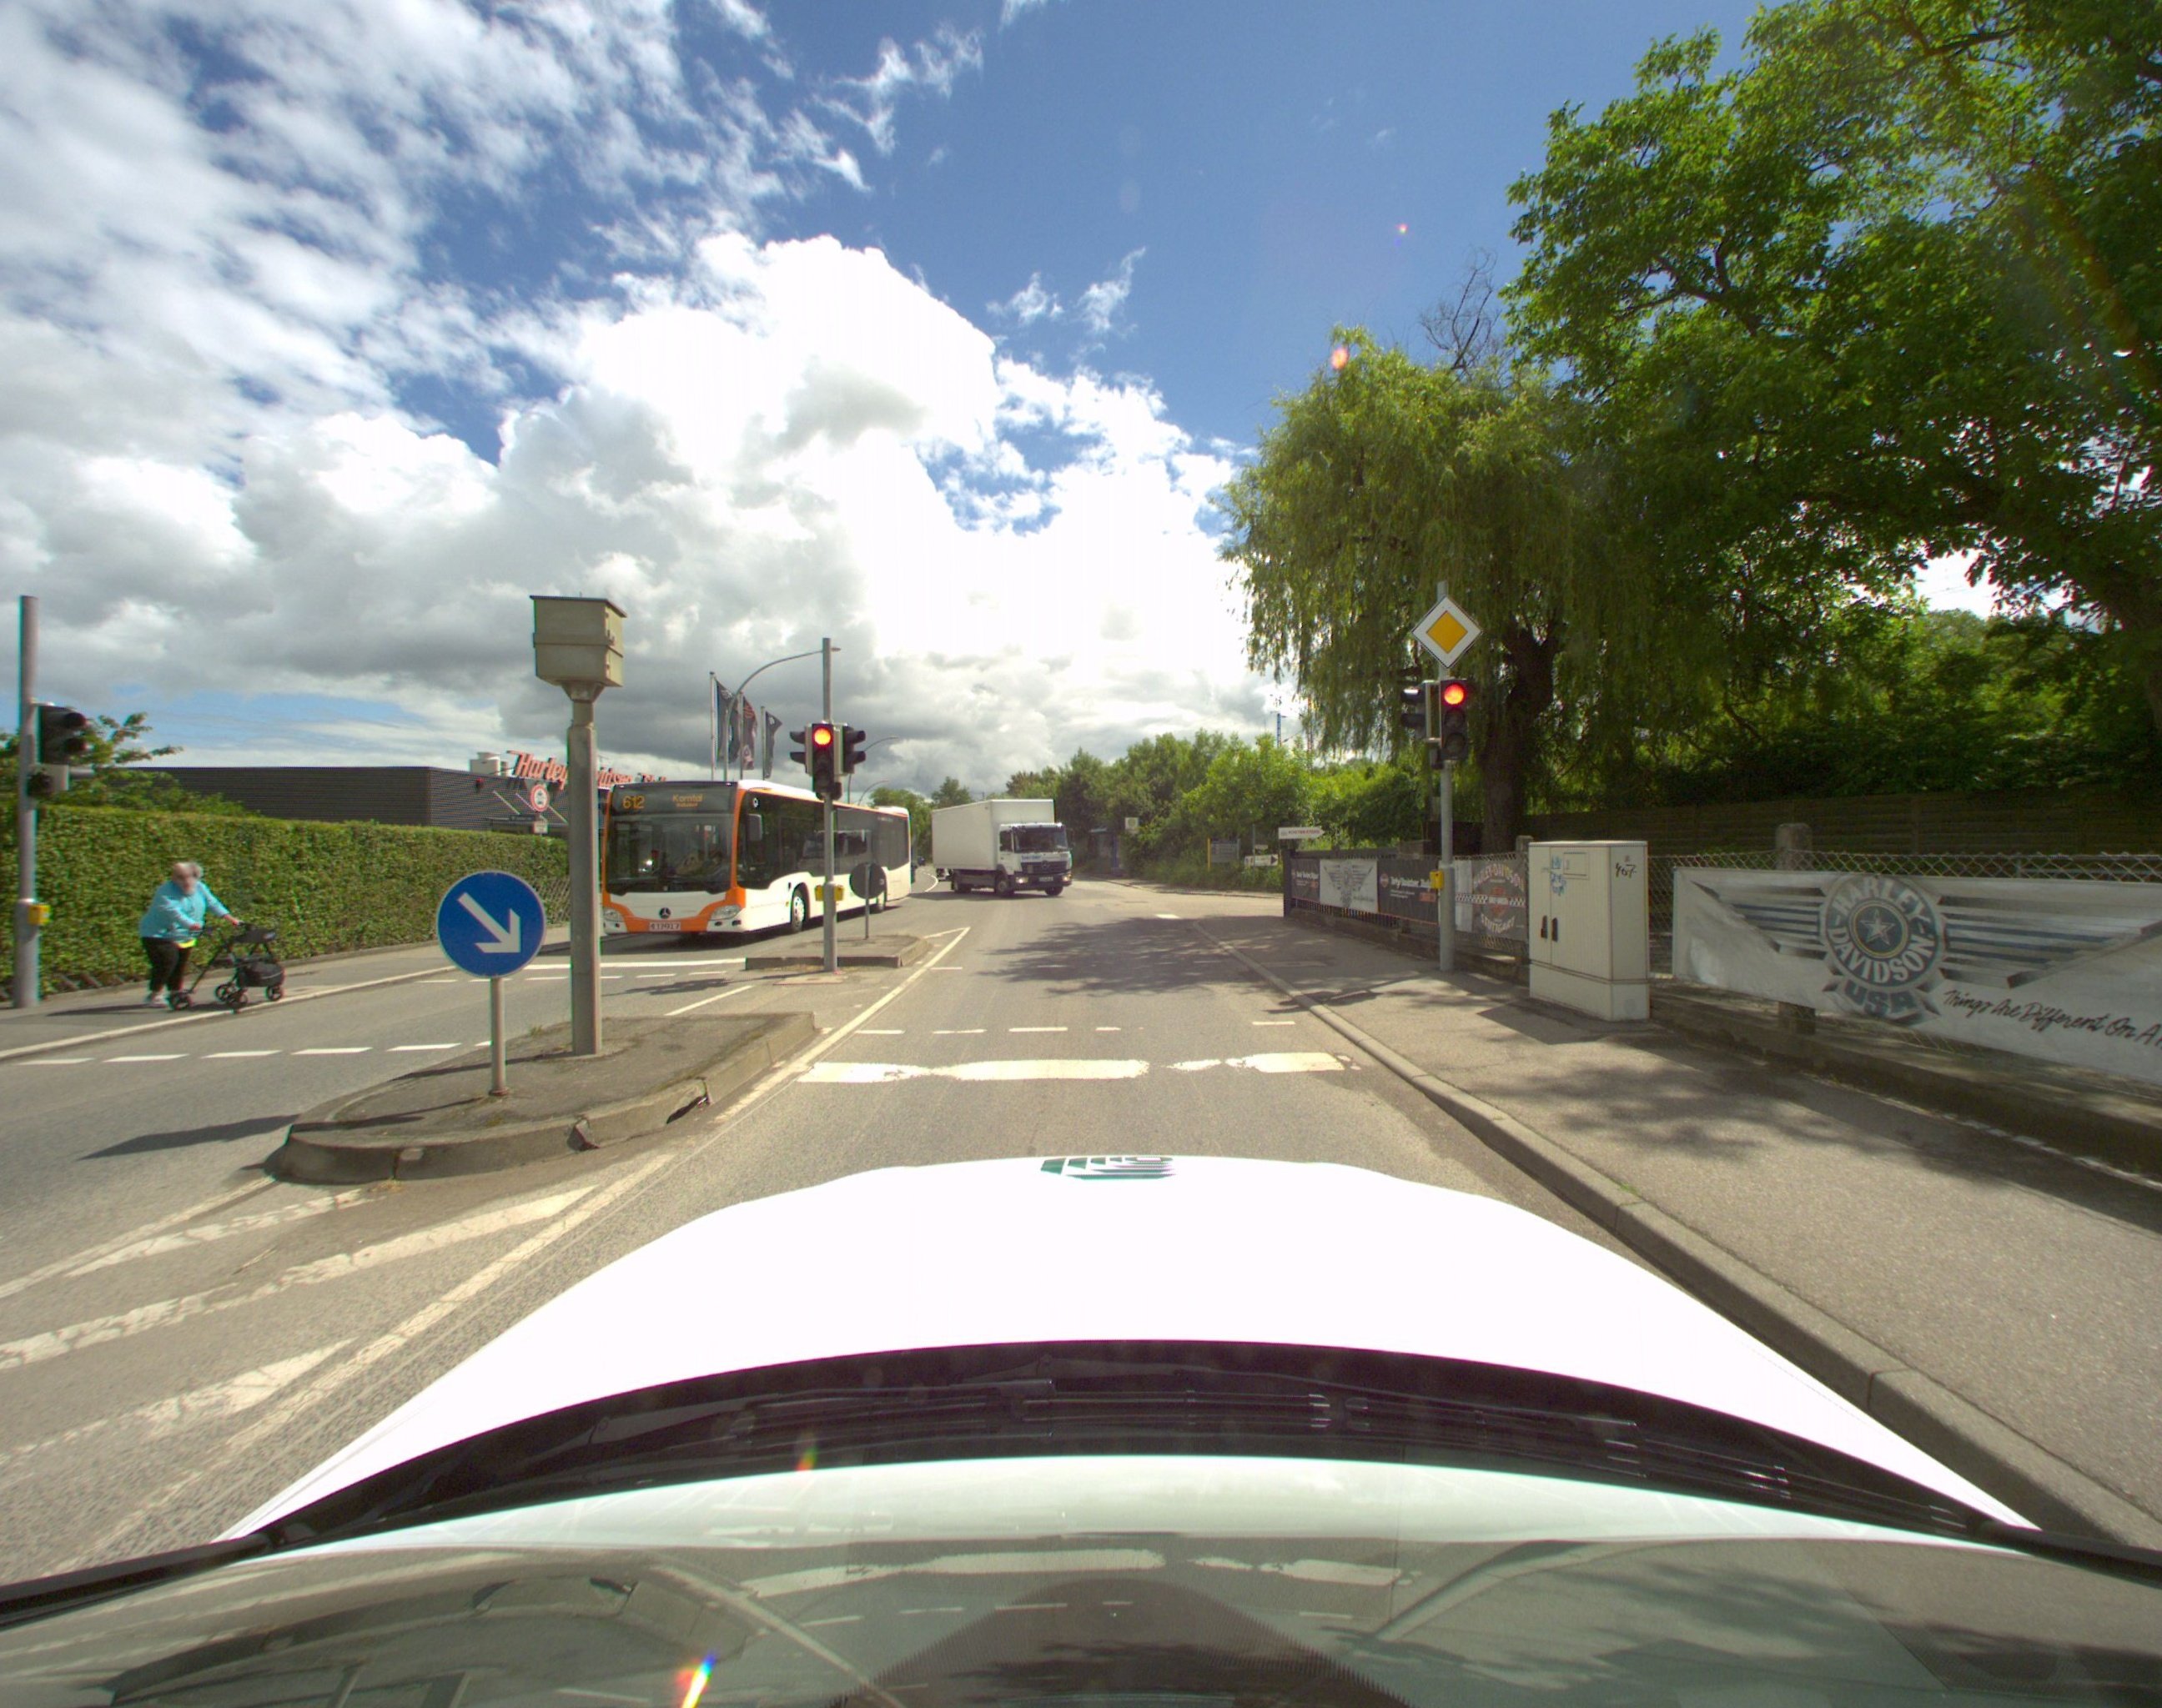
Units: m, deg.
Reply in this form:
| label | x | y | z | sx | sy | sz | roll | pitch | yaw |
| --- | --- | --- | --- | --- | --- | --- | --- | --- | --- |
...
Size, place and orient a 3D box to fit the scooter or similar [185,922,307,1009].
| label | x | y | z | sx | sy | sz | roll | pitch | yaw |
| --- | --- | --- | --- | --- | --- | --- | --- | --- | --- |
| scooter or similar | -8.961 | 1.185 | 8.763 | 0.609 | 0.831 | 0.659 | 1 | 0 | 0 |

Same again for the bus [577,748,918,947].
| label | x | y | z | sx | sy | sz | roll | pitch | yaw |
| --- | --- | --- | --- | --- | --- | --- | --- | --- | --- |
| bus | -6.841 | -0.077 | 19.755 | 2.767 | 3.266 | 12.129 | -2 | 0 | 2 |

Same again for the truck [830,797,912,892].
| label | x | y | z | sx | sy | sz | roll | pitch | yaw |
| --- | --- | --- | --- | --- | --- | --- | --- | --- | --- |
| truck | -10.230 | -0.386 | 40.575 | 2.425 | 4.131 | 9.132 | 1 | -1 | -6 |

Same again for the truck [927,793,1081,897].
| label | x | y | z | sx | sy | sz | roll | pitch | yaw |
| --- | --- | --- | --- | --- | --- | --- | --- | --- | --- |
| truck | -3.430 | -0.304 | 32.602 | 2.855 | 3.541 | 9.640 | -1 | 0 | -26 |

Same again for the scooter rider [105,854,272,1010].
| label | x | y | z | sx | sy | sz | roll | pitch | yaw |
| --- | --- | --- | --- | --- | --- | --- | --- | --- | --- |
| scooter rider | -9.530 | 0.799 | 8.738 | 0.875 | 1.589 | 0.796 | 1 | 0 | 0 |

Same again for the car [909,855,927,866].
| label | x | y | z | sx | sy | sz | roll | pitch | yaw |
| --- | --- | --- | --- | --- | --- | --- | --- | --- | --- |
| car | -23.633 | 0.977 | 118.116 | 1.891 | 1.508 | 3.973 | 0 | 0 | -20 |
